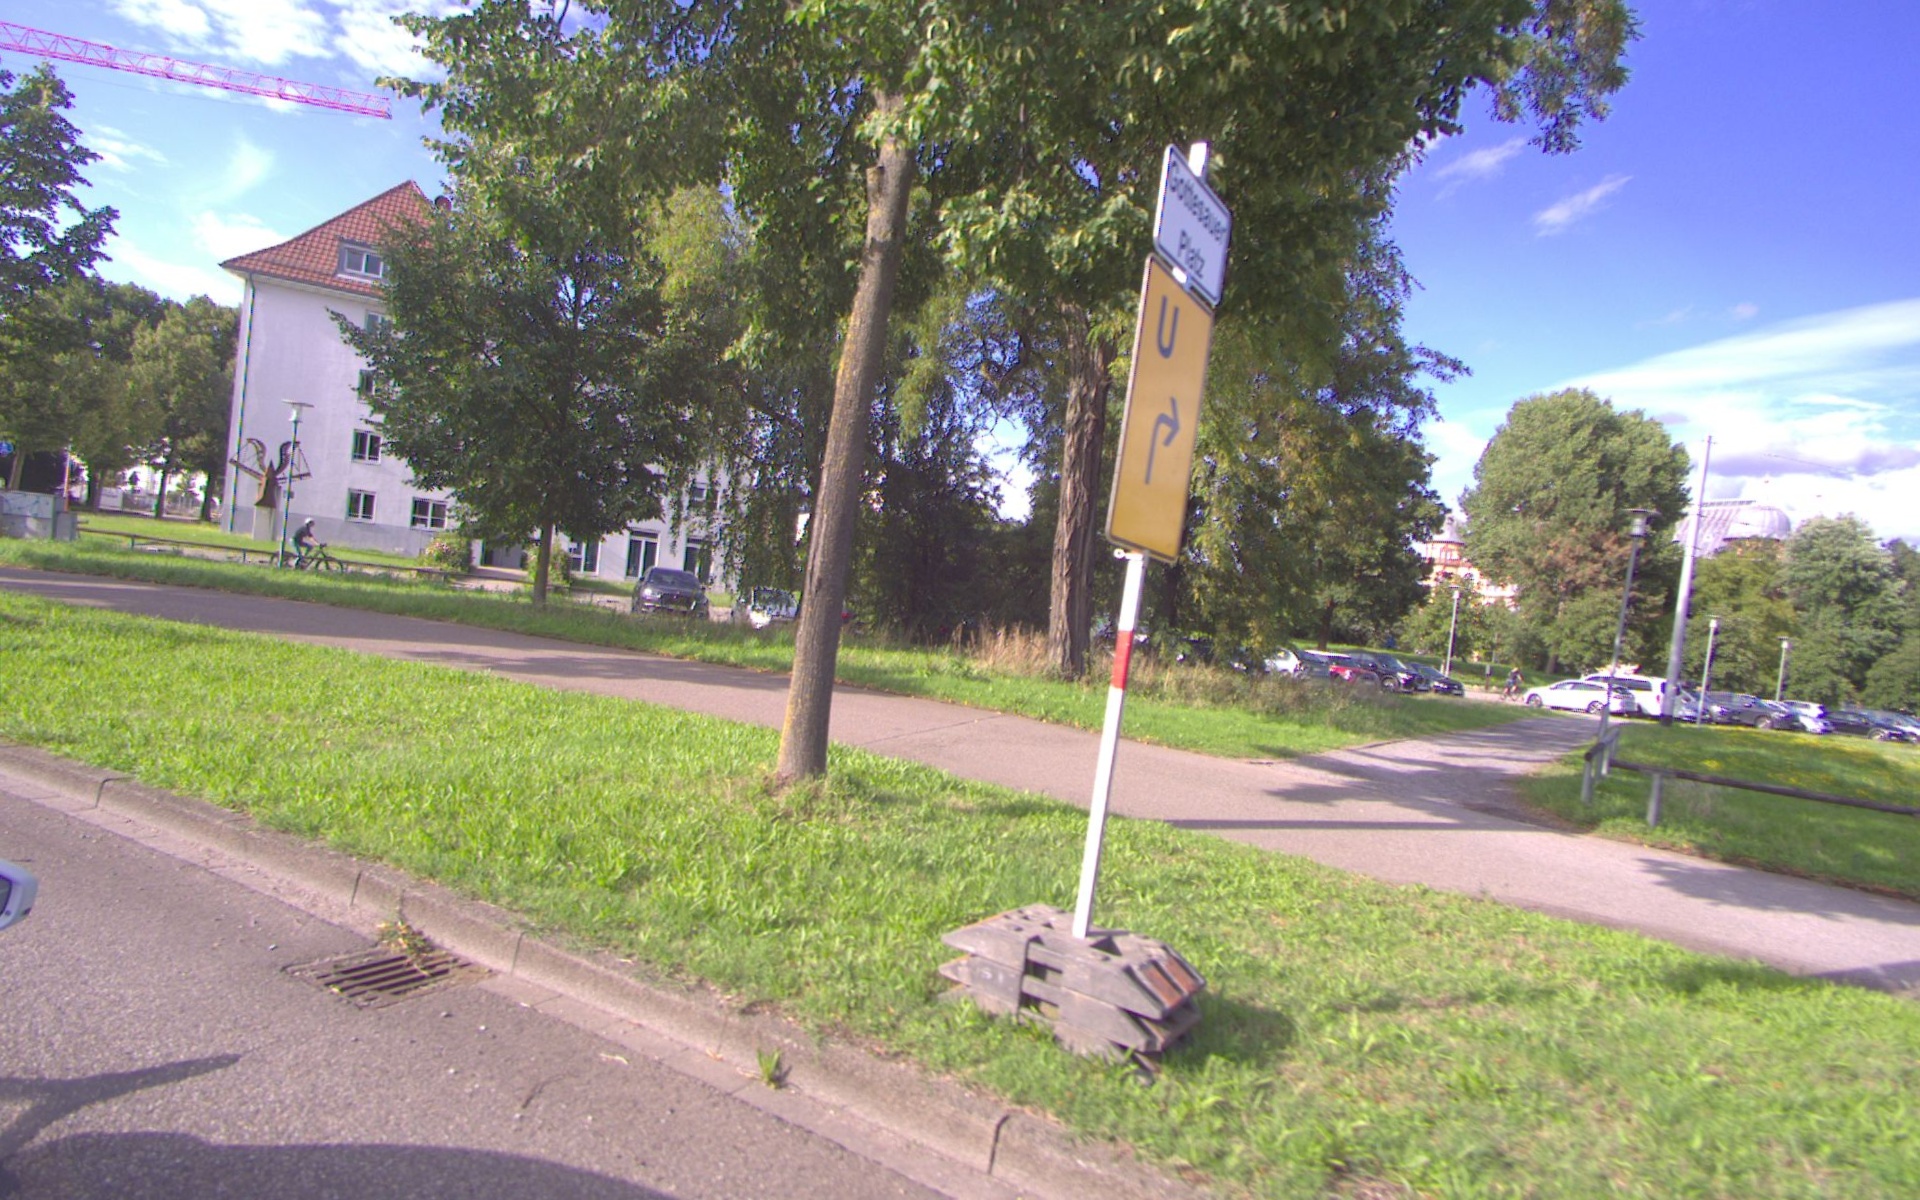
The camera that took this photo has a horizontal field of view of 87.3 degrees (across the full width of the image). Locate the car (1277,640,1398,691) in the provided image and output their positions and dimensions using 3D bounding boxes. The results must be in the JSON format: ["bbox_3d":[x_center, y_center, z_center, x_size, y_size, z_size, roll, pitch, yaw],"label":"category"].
[{"bbox_3d":[14.565,2.492,39.099,1.835,1.380,4.447,6,0,-21],"label":"car"}]

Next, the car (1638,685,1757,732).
[{"bbox_3d":[34.774,5.085,47.584,2.004,1.534,4.101,6,0,-13],"label":"car"}]

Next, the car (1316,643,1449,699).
[{"bbox_3d":[16.567,2.756,39.737,1.835,1.534,4.920,6,0,-21],"label":"car"}]

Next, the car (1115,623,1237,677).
[{"bbox_3d":[7.579,1.737,35.798,1.835,1.376,4.710,6,0,-21],"label":"car"}]

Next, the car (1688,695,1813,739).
[{"bbox_3d":[38.707,5.715,49.390,1.833,1.416,4.451,6,0,-18],"label":"car"}]

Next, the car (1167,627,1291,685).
[{"bbox_3d":[9.731,2.004,36.808,1.835,1.534,4.724,6,0,-21],"label":"car"}]

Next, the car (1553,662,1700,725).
[{"bbox_3d":[30.022,4.174,45.556,2.283,2.032,5.092,6,0,-18],"label":"car"}]

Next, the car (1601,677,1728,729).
[{"bbox_3d":[32.723,4.748,46.894,2.069,1.695,4.457,6,0,-13],"label":"car"}]

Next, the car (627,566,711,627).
[{"bbox_3d":[-8.421,-0.156,28.901,1.835,1.398,4.493,6,0,-21],"label":"car"}]

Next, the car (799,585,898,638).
[{"bbox_3d":[-3.578,0.302,31.393,1.835,1.222,4.710,6,0,-21],"label":"car"}]

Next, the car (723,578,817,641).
[{"bbox_3d":[-5.804,0.224,30.255,1.835,1.458,4.710,6,0,-21],"label":"car"}]

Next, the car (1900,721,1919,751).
[{"bbox_3d":[56.490,8.028,56.900,1.832,1.560,4.451,6,0,-18],"label":"car"}]

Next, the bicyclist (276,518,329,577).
[{"bbox_3d":[-19.300,-1.529,29.539,0.945,1.594,0.770,7,1,-14],"label":"bicyclist"}]

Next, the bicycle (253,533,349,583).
[{"bbox_3d":[-19.330,-1.219,29.549,2.116,1.151,0.770,7,0,-14],"label":"bicycle"}]

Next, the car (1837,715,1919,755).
[{"bbox_3d":[50.584,7.352,54.321,1.832,1.560,4.451,6,0,-18],"label":"car"}]

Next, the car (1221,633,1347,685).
[{"bbox_3d":[12.201,2.200,38.253,1.835,1.375,4.810,6,0,-21],"label":"car"}]

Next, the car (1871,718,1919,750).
[{"bbox_3d":[54.044,7.685,56.054,1.832,1.472,4.451,6,0,-18],"label":"car"}]

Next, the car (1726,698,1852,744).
[{"bbox_3d":[41.273,5.992,50.205,1.833,1.523,4.451,6,0,-18],"label":"car"}]

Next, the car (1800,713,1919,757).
[{"bbox_3d":[48.048,7.167,53.764,1.776,1.534,4.451,6,0,-18],"label":"car"}]

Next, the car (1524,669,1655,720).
[{"bbox_3d":[27.577,4.108,44.244,1.840,1.534,4.436,6,0,-29],"label":"car"}]

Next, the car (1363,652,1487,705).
[{"bbox_3d":[18.826,3.150,40.943,1.835,1.534,4.447,6,0,-21],"label":"car"}]
